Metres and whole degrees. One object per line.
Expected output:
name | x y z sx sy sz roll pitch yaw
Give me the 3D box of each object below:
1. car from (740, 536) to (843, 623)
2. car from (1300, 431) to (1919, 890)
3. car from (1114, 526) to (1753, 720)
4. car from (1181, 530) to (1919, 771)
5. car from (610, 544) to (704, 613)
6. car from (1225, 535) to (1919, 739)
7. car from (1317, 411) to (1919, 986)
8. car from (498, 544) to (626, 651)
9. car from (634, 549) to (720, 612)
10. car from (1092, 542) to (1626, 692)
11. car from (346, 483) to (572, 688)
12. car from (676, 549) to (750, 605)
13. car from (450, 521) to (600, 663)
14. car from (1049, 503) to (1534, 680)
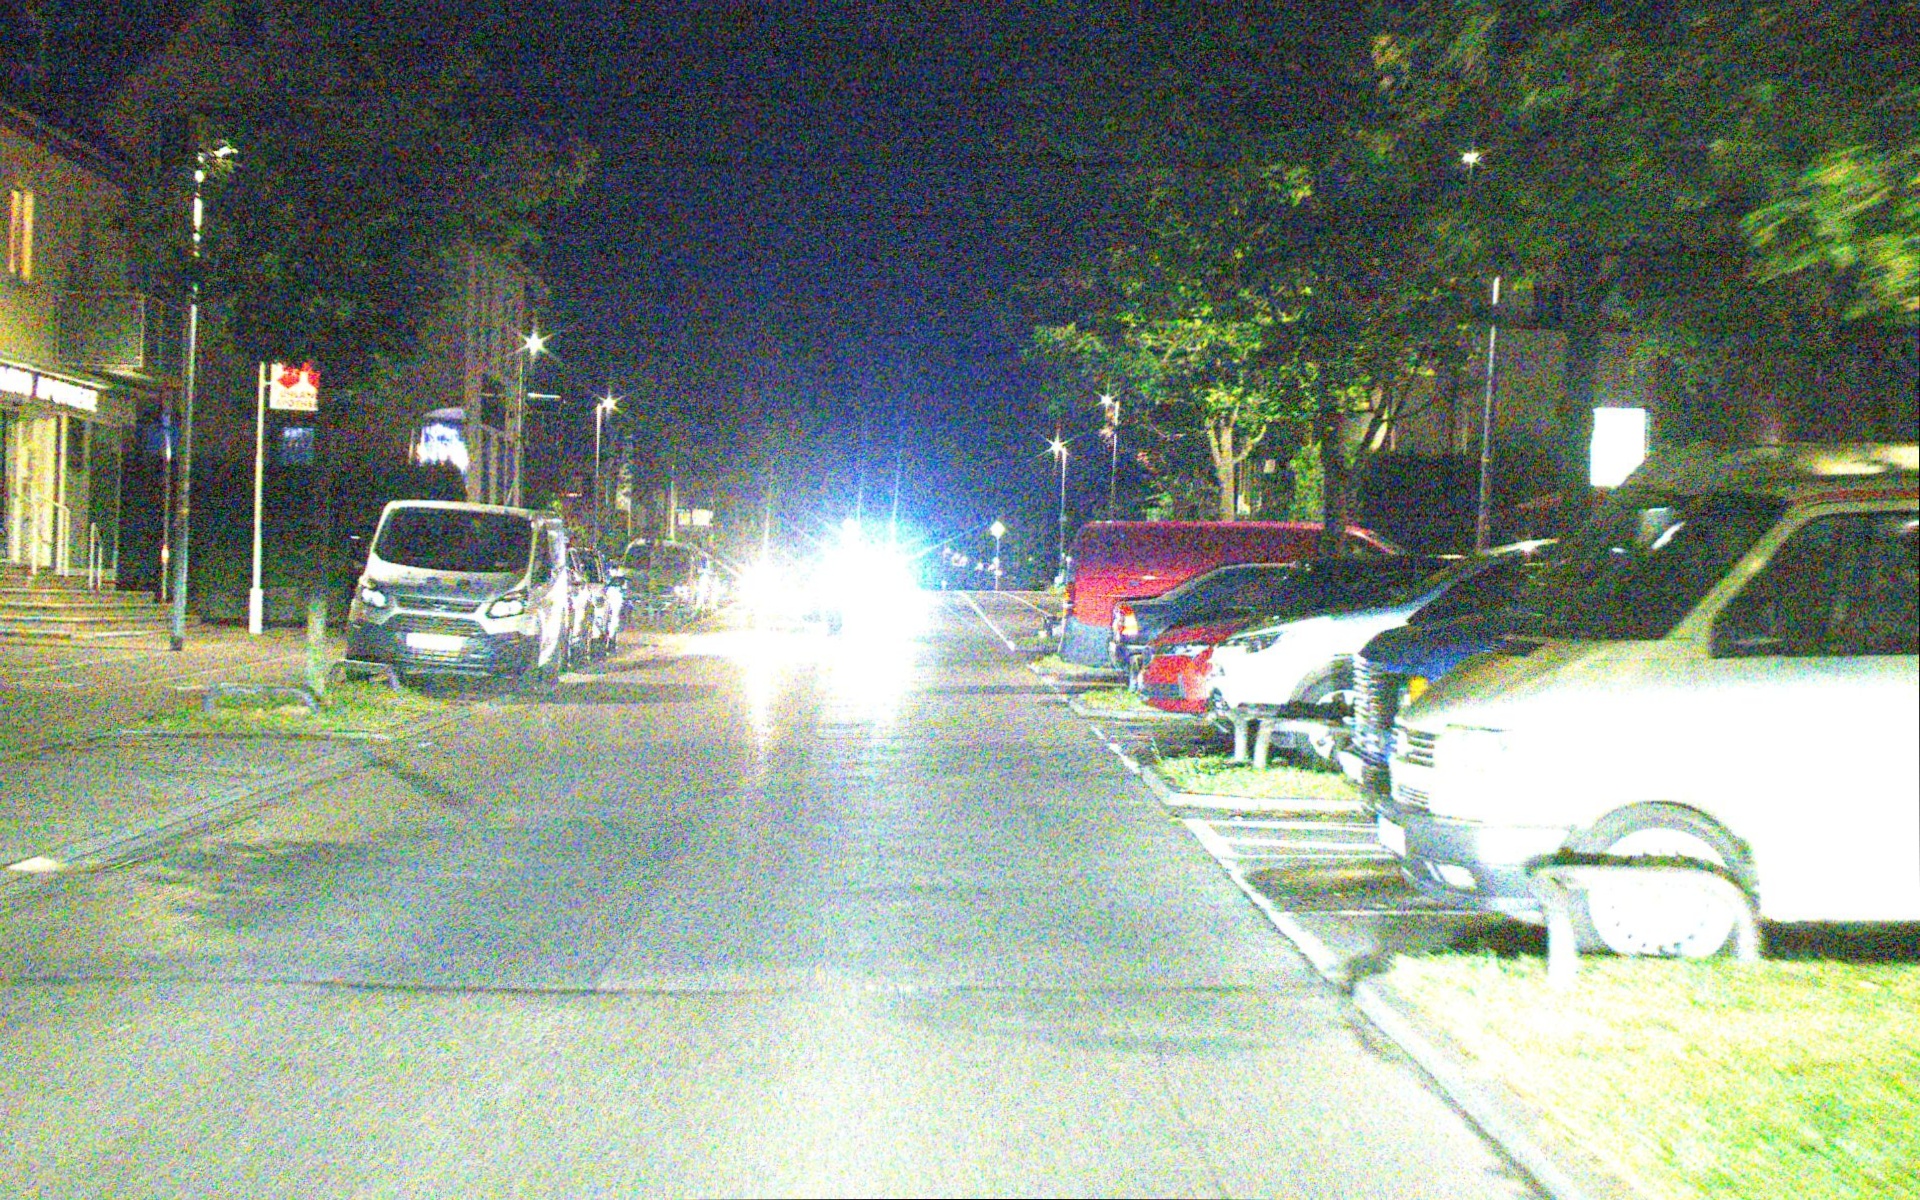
car | -3.233 -0.424 66.551 1.927 1.643 3.822 0 1 -2
car | 4.328 0.239 16.234 5.182 2.007 2.102 0 1 -2
car | 4.001 0.170 29.706 5.182 1.588 2.102 0 1 -2
car | 4.245 0.318 24.216 5.182 1.588 2.102 0 1 -2
car | -6.121 -0.455 69.716 1.683 1.326 3.600 1 1 -2
car | 4.794 0.260 27.157 5.182 1.519 2.102 0 1 -2
car | 4.094 0.318 13.169 5.182 2.007 2.102 0 1 -2
car | -5.610 -0.062 48.723 1.534 1.446 3.119 1 1 -2
car | -6.188 -0.449 75.507 1.683 1.326 3.600 1 1 -2
car | 4.016 0.149 35.223 5.182 1.464 2.102 0 1 -2
car | -5.308 -0.179 36.899 1.824 1.980 4.466 3 1 -2
car | -6.095 -0.593 85.144 1.683 1.326 3.600 1 1 -2
car | -5.532 -0.122 43.988 1.534 1.682 3.212 3 1 -2
car | 3.689 -0.099 37.937 5.184 1.880 2.101 0 1 9
